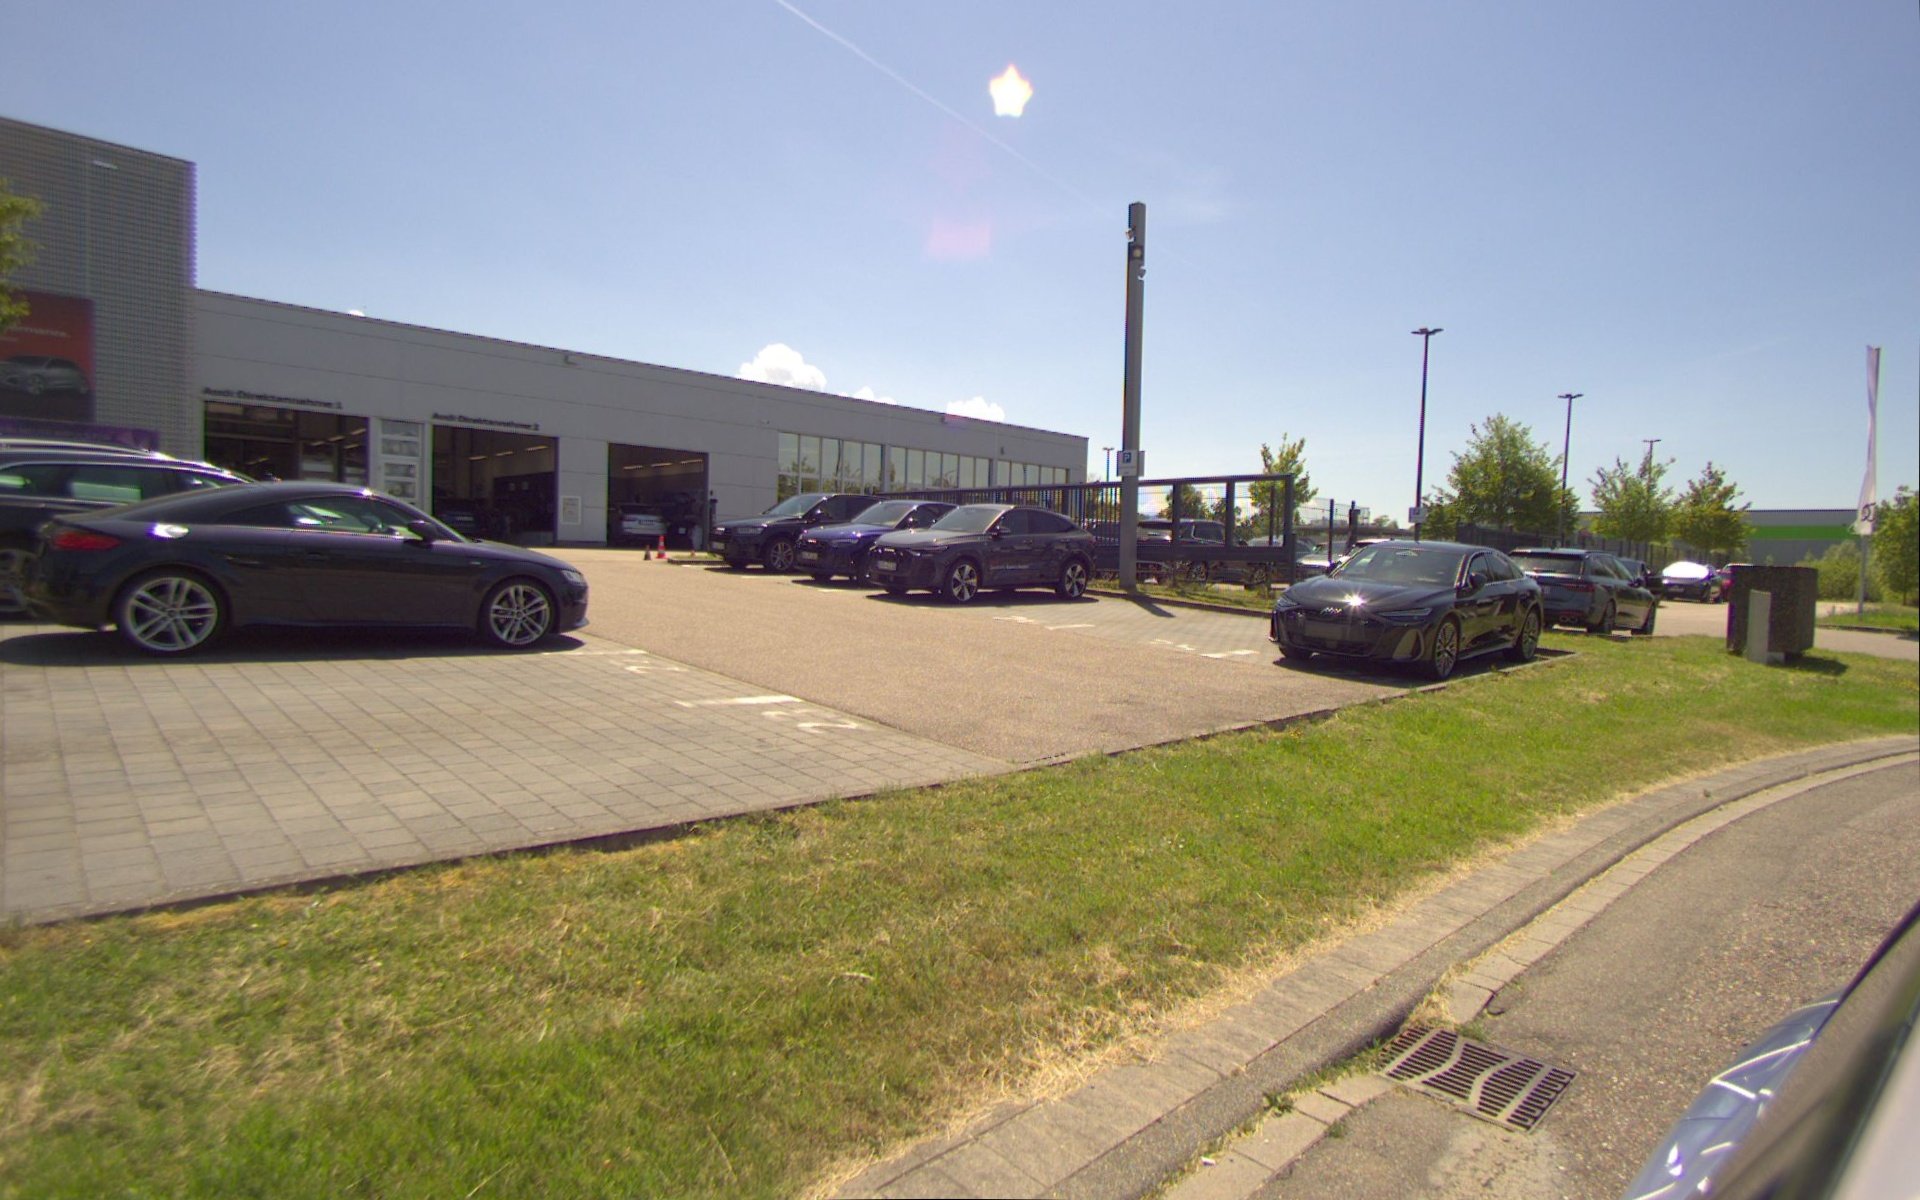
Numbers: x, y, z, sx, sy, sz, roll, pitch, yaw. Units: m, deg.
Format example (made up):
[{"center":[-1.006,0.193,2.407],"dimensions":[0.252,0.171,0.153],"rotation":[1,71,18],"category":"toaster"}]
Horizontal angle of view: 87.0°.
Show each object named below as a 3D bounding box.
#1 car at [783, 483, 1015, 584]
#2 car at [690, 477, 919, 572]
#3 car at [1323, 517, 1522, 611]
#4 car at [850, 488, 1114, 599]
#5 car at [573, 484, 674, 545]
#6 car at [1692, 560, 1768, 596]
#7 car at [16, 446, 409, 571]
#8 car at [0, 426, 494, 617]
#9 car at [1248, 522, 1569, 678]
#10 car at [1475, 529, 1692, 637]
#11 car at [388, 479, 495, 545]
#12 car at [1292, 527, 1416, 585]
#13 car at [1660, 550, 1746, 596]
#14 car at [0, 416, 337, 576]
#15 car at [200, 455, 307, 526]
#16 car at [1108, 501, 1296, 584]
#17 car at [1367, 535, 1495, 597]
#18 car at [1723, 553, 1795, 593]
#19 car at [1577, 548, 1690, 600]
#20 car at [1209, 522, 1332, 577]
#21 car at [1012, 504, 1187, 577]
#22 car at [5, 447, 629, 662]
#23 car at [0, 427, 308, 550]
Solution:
[{"center":[-1.090,-1.256,19.699],"dimensions":[1.827,1.714,4.346],"rotation":[8,6,44],"category":"car"},{"center":[-3.261,-1.588,21.809],"dimensions":[1.964,1.762,4.552],"rotation":[8,7,44],"category":"car"},{"center":[8.969,-0.691,19.409],"dimensions":[1.821,1.546,4.865],"rotation":[6,5,45],"category":"car"},{"center":[0.508,-0.964,17.593],"dimensions":[1.826,1.663,4.709],"rotation":[6,5,45],"category":"car"},{"center":[-11.263,-2.879,33.707],"dimensions":[1.931,1.762,4.257],"rotation":[0,6,-36],"category":"car"},{"center":[32.519,-0.964,42.692],"dimensions":[4.101,1.373,1.778],"rotation":[-1,5,-42],"category":"car"},{"center":[-10.549,-1.224,14.503],"dimensions":[1.963,1.494,4.302],"rotation":[6,5,45],"category":"car"},{"center":[-7.566,-0.744,10.097],"dimensions":[1.963,1.571,4.925],"rotation":[6,5,45],"category":"car"},{"center":[5.659,-0.076,12.390],"dimensions":[1.881,1.472,4.943],"rotation":[7,6,45],"category":"car"},{"center":[10.532,-0.324,16.928],"dimensions":[1.963,1.485,4.865],"rotation":[6,5,45],"category":"car"},{"center":[-16.246,-2.773,31.608],"dimensions":[1.934,1.762,4.249],"rotation":[-1,6,-42],"category":"car"},{"center":[12.674,-1.390,32.422],"dimensions":[1.963,1.649,4.552],"rotation":[6,5,45],"category":"car"},{"center":[28.483,-1.059,38.743],"dimensions":[4.331,1.585,1.778],"rotation":[-1,5,-42],"category":"car"},{"center":[-9.917,-1.163,11.775],"dimensions":[1.963,1.632,4.220],"rotation":[6,5,45],"category":"car"},{"center":[-20.078,-3.127,28.685],"dimensions":[1.934,1.762,4.318],"rotation":[-1,6,-42],"category":"car"},{"center":[5.504,-1.268,22.705],"dimensions":[1.963,1.649,4.552],"rotation":[6,5,45],"category":"car"},{"center":[14.122,-1.024,30.210],"dimensions":[1.963,1.649,4.552],"rotation":[6,5,45],"category":"car"},{"center":[36.751,-1.259,46.519],"dimensions":[4.322,1.666,1.823],"rotation":[-1,5,-42],"category":"car"},{"center":[20.796,-0.827,31.175],"dimensions":[4.495,1.418,1.778],"rotation":[-1,5,-42],"category":"car"},{"center":[10.419,-1.657,33.772],"dimensions":[1.963,1.649,4.552],"rotation":[6,5,45],"category":"car"},{"center":[3.566,-1.458,25.340],"dimensions":[1.963,1.649,4.552],"rotation":[6,5,45],"category":"car"},{"center":[-5.330,-0.371,8.771],"dimensions":[1.963,1.391,4.242],"rotation":[6,4,45],"category":"car"},{"center":[-13.928,-1.821,17.056],"dimensions":[1.963,1.759,4.653],"rotation":[6,5,45],"category":"car"}]
